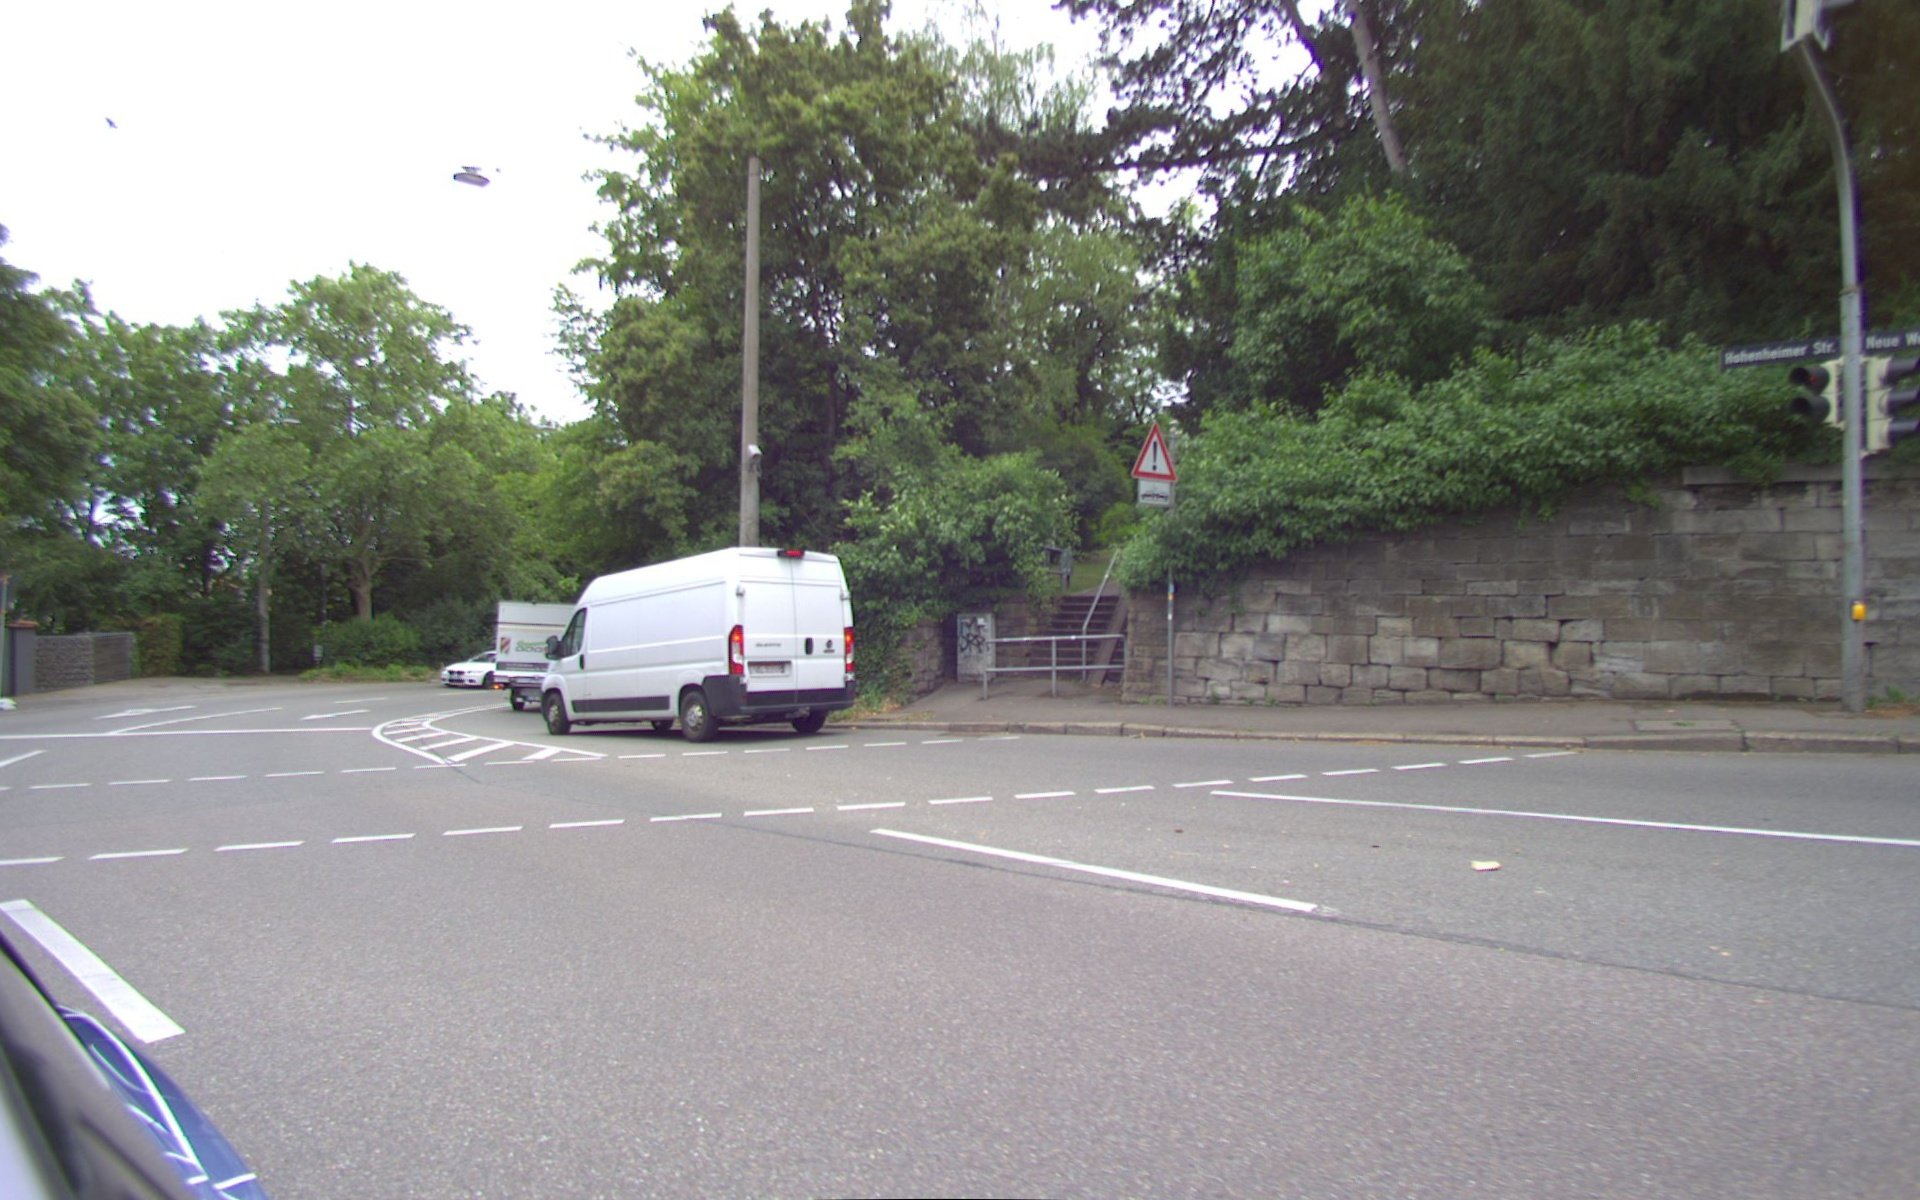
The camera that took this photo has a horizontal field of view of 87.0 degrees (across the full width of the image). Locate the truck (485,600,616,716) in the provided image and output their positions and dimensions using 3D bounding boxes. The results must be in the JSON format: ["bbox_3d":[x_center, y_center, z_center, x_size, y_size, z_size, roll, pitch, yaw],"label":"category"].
[{"bbox_3d":[-12.226,1.850,30.778,2.370,3.112,6.357,2,-5,-11],"label":"truck"}]

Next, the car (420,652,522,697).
[{"bbox_3d":[-19.311,2.910,40.200,1.890,1.563,4.528,3,-3,-2],"label":"car"}]

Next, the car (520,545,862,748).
[{"bbox_3d":[-4.179,0.761,14.861,5.895,2.431,1.972,-5,-5,42],"label":"car"}]
